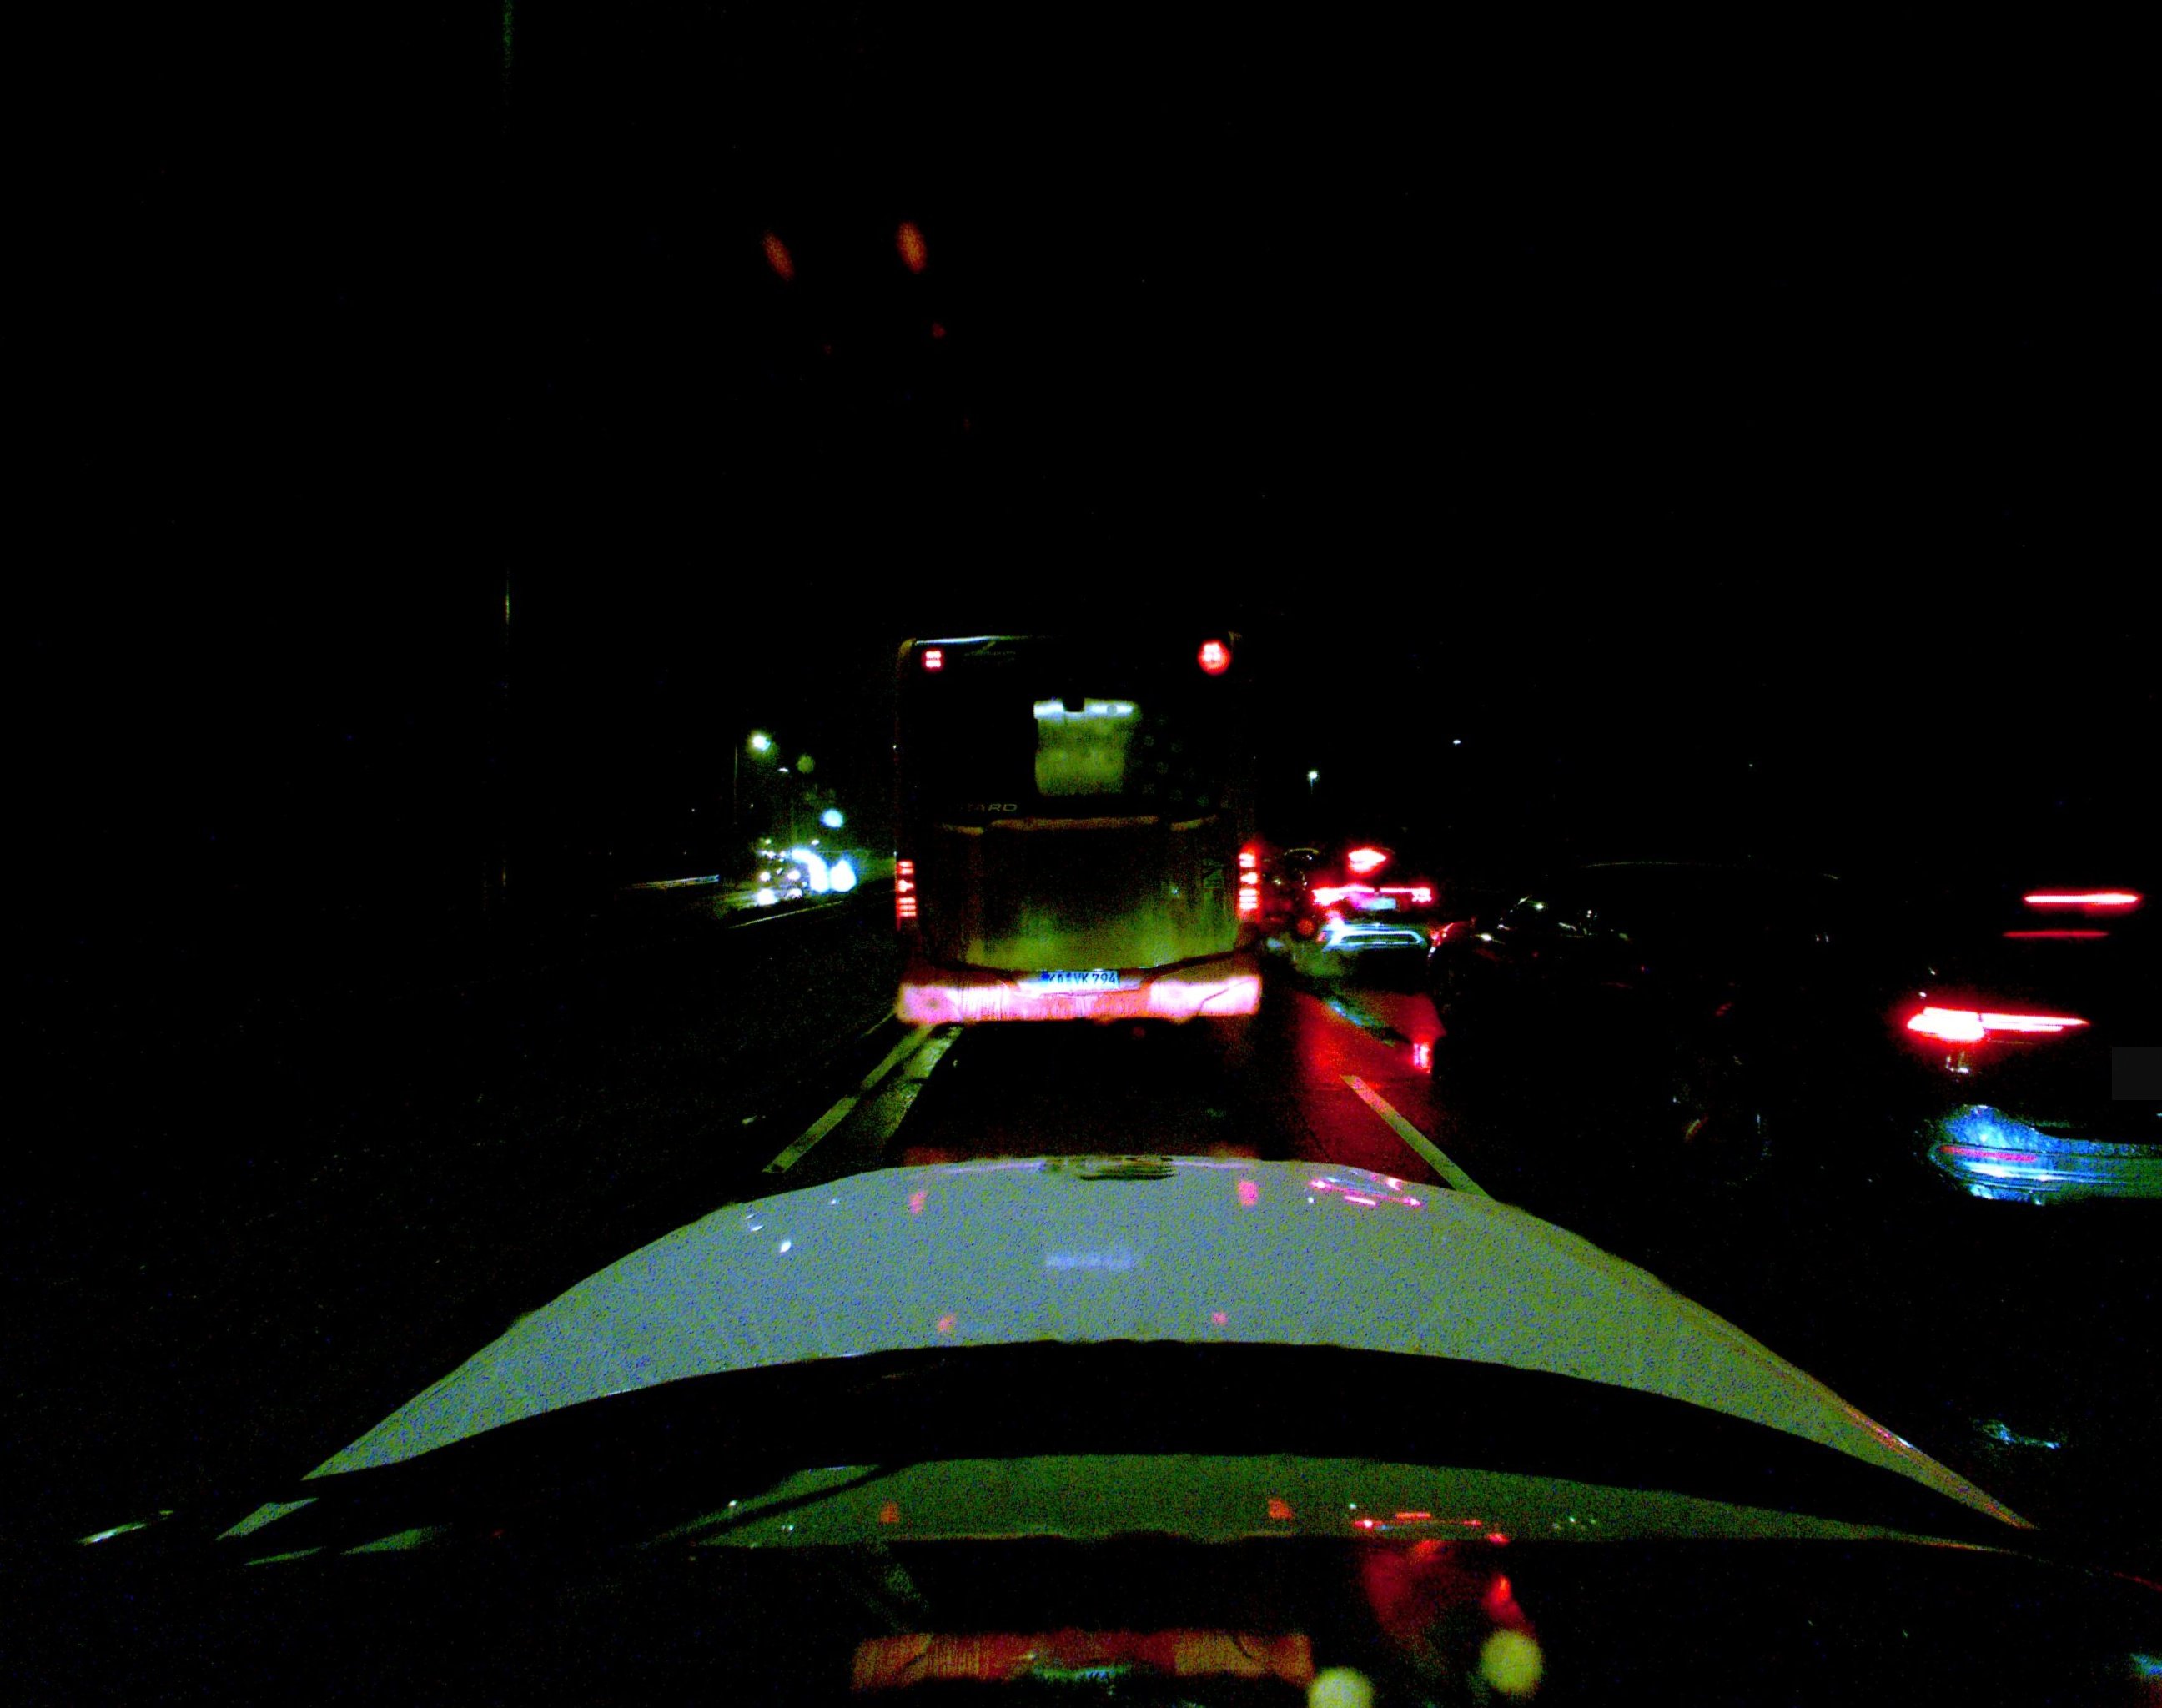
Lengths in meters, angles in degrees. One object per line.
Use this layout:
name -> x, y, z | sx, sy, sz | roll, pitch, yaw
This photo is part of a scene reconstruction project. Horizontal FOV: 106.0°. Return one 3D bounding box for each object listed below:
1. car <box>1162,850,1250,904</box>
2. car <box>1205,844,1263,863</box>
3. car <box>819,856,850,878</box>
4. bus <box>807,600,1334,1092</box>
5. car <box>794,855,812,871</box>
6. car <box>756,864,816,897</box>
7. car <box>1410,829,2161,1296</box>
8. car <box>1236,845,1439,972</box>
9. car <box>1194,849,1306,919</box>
car -> 3.555, 0.636, 23.952 | 1.987, 1.441, 3.999 | 0, -1, 0
car -> 12.844, -0.074, 68.389 | 4.477, 1.519, 1.853 | 0, 2, -6
car -> -17.347, 0.886, 57.529 | 1.713, 1.423, 4.646 | -2, 0, -13
bus -> -0.033, -0.158, 9.968 | 3.274, 3.050, 9.544 | -2, 1, 0
car -> -30.099, 0.971, 88.188 | 1.771, 1.631, 4.222 | -1, 0, -20
car -> -14.896, 1.281, 41.388 | 1.993, 1.508, 4.823 | -2, 0, -9
car -> 3.687, 0.708, 4.936 | 1.666, 1.506, 4.561 | 1, -1, 2
car -> 3.487, 0.676, 11.860 | 1.672, 1.521, 3.959 | 0, -1, -1
car -> 3.596, 0.602, 17.997 | 1.680, 1.330, 3.960 | -2, 0, 1
